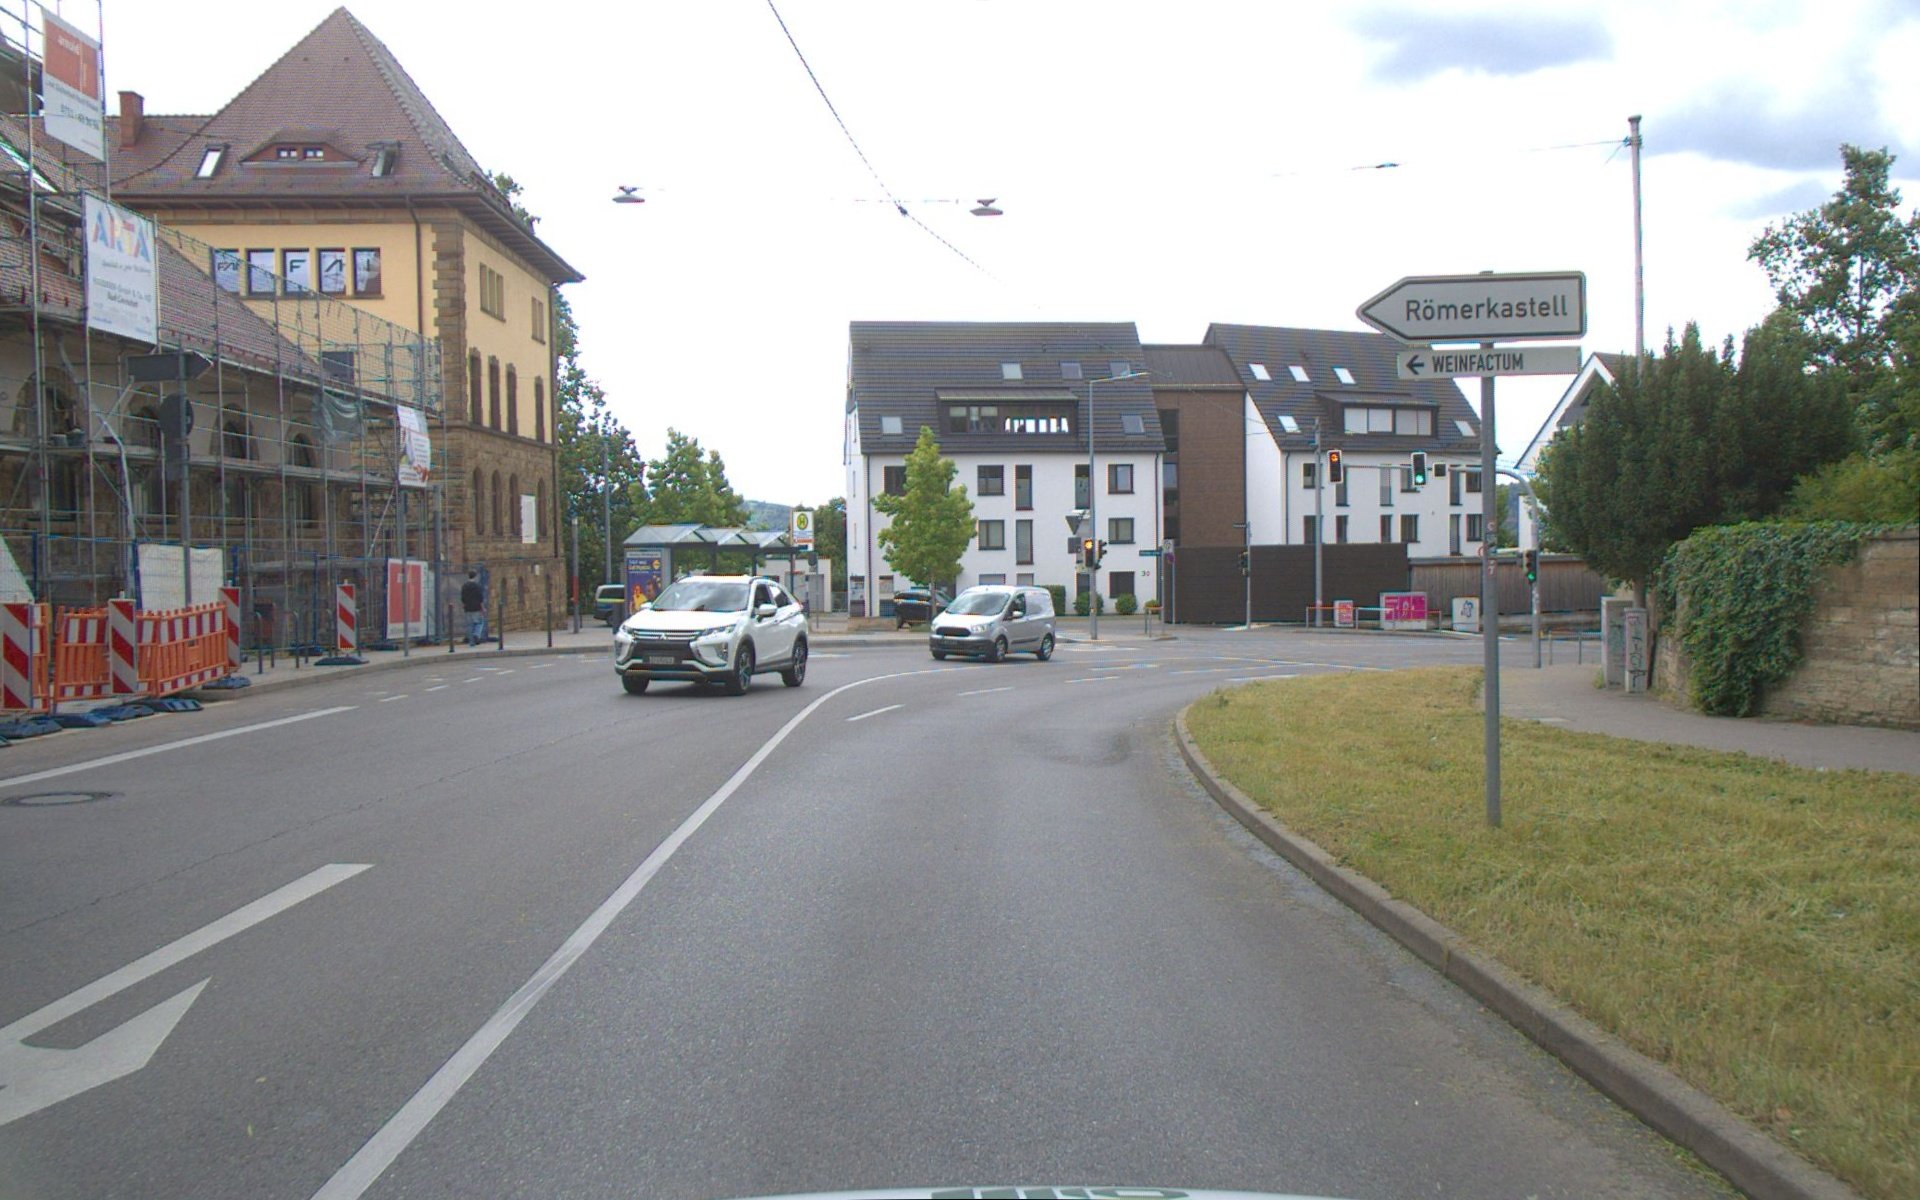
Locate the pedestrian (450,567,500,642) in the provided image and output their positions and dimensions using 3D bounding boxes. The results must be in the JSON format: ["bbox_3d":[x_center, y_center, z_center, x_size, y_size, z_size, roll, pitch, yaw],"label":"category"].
[{"bbox_3d":[-11.657,0.112,39.782,0.904,1.750,0.799,1,-1,1],"label":"pedestrian"}]

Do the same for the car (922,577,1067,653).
[{"bbox_3d":[0.865,0.341,38.272,1.660,1.642,4.076,1,0,28],"label":"car"}]

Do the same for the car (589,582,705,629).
[{"bbox_3d":[-14.623,0.268,77.420,4.968,2.049,2.001,1,0,4],"label":"car"}]

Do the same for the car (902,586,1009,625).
[{"bbox_3d":[-0.197,0.233,70.890,4.181,1.539,1.996,1,0,31],"label":"car"}]

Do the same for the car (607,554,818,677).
[{"bbox_3d":[-3.540,0.295,24.522,1.753,1.639,4.511,-1,-2,10],"label":"car"}]
